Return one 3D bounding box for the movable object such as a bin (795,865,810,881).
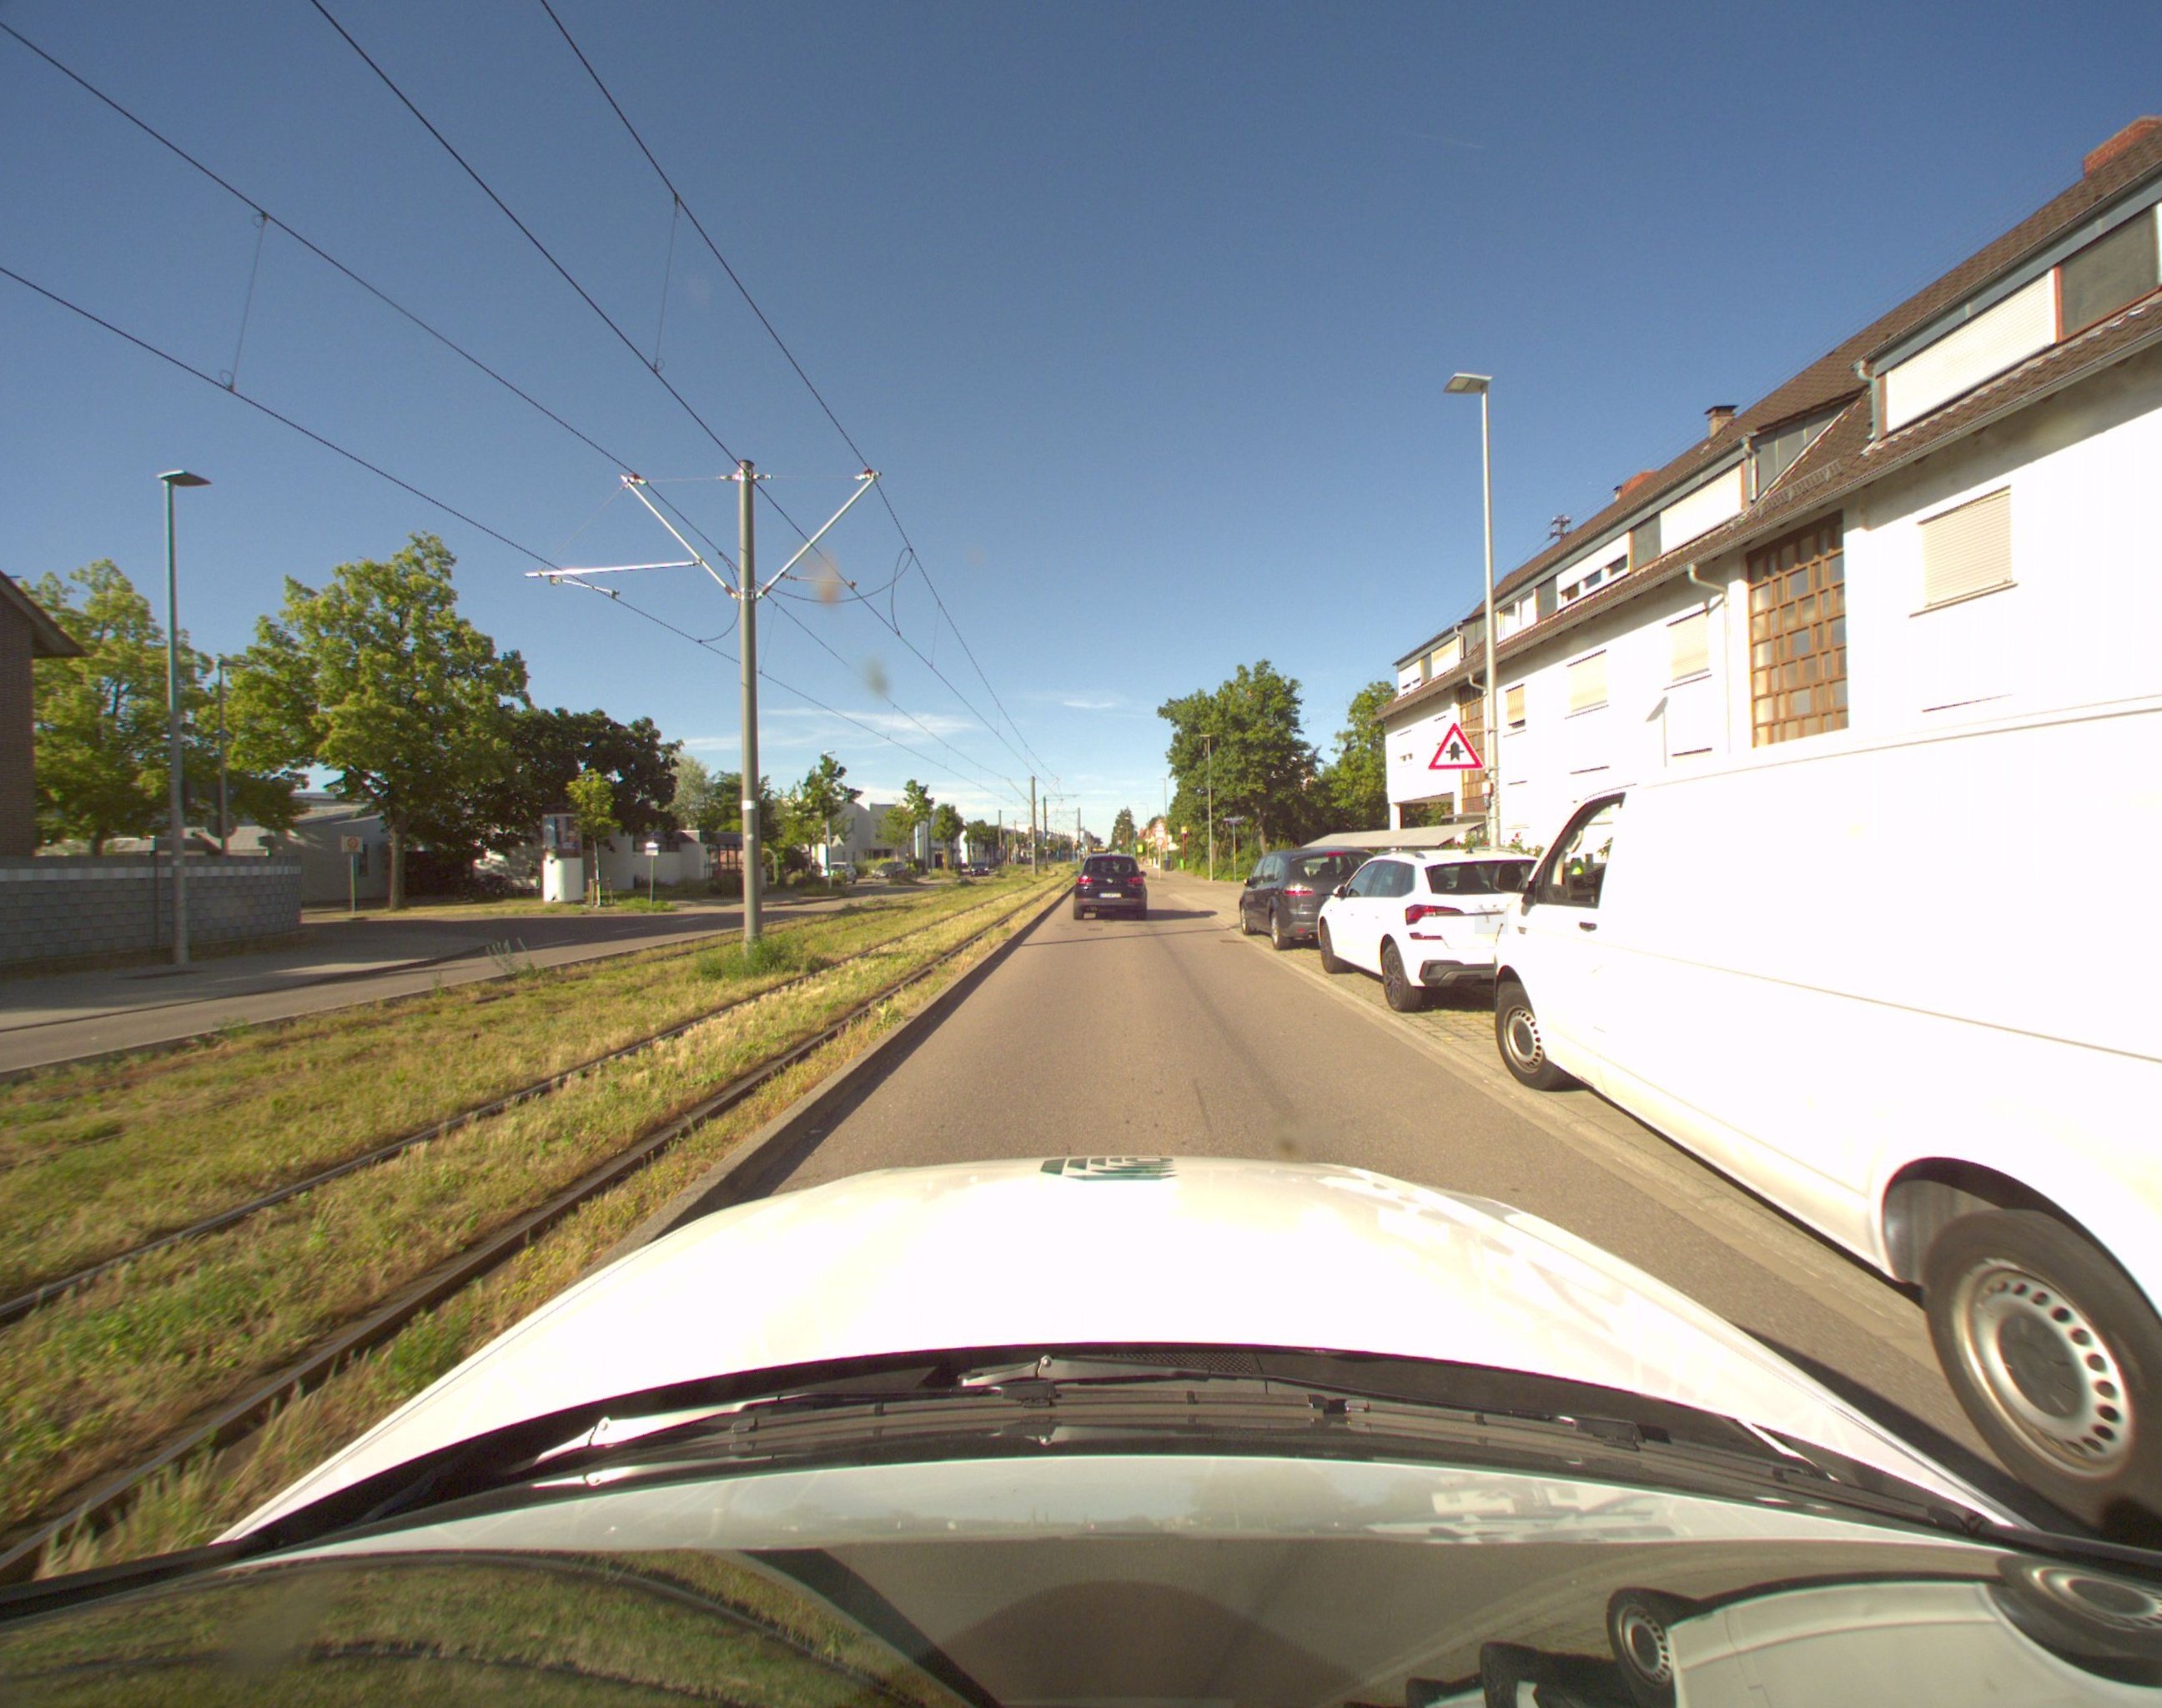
[{"bbox_3d":[-23.656,1.592,69.216,0.660,1.383,1.425,0,0,9],"label":"movable object such as a bin"}]

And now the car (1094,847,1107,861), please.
[{"bbox_3d":[3.781,-0.029,158.002,2.385,2.564,5.532,-1,0,2],"label":"car"}]

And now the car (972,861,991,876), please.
[{"bbox_3d":[-9.837,1.410,80.548,1.685,1.389,4.379,-3,0,-5],"label":"car"}]

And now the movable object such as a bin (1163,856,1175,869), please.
[{"bbox_3d":[7.771,0.751,71.868,0.971,1.111,1.172,-2,0,5],"label":"movable object such as a bin"}]

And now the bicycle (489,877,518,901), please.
[{"bbox_3d":[-27.415,1.666,38.675,1.055,1.083,0.303,-2,0,-16],"label":"bicycle"}]

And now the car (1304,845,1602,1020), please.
[{"bbox_3d":[3.838,0.706,9.251,1.649,1.492,4.163,-2,0,3],"label":"car"}]

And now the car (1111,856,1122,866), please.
[{"bbox_3d":[6.427,1.266,146.333,1.770,1.670,3.999,-1,0,0],"label":"car"}]

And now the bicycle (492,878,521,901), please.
[{"bbox_3d":[-27.514,1.694,39.013,1.039,1.059,0.303,-2,0,-16],"label":"bicycle"}]

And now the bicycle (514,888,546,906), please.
[{"bbox_3d":[-27.301,2.110,40.354,1.240,0.825,0.333,-1,-1,-9],"label":"bicycle"}]

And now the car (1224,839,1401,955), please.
[{"bbox_3d":[3.902,0.659,14.681,1.785,1.628,4.861,-4,0,1],"label":"car"}]

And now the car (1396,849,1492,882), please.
[{"bbox_3d":[17.937,0.549,40.352,3.986,1.497,1.745,-1,0,2],"label":"car"}]

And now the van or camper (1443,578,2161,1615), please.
[{"bbox_3d":[3.376,0.421,3.503,2.016,1.956,5.309,-2,0,9],"label":"van or camper"}]

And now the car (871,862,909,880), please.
[{"bbox_3d":[-16.110,1.421,69.001,1.801,1.461,4.324,0,0,6],"label":"car"}]

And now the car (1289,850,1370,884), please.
[{"bbox_3d":[12.318,0.653,40.515,3.580,1.530,1.648,-2,-1,3],"label":"car"}]

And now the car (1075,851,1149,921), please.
[{"bbox_3d":[0.726,0.776,21.384,1.770,1.670,3.999,0,0,0],"label":"car"}]

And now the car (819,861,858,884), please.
[{"bbox_3d":[-16.535,1.256,55.696,1.539,1.491,3.775,0,0,0],"label":"car"}]

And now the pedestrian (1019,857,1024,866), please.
[{"bbox_3d":[-10.380,1.251,141.993,0.883,1.587,0.624,-1,0,-17],"label":"pedestrian"}]
